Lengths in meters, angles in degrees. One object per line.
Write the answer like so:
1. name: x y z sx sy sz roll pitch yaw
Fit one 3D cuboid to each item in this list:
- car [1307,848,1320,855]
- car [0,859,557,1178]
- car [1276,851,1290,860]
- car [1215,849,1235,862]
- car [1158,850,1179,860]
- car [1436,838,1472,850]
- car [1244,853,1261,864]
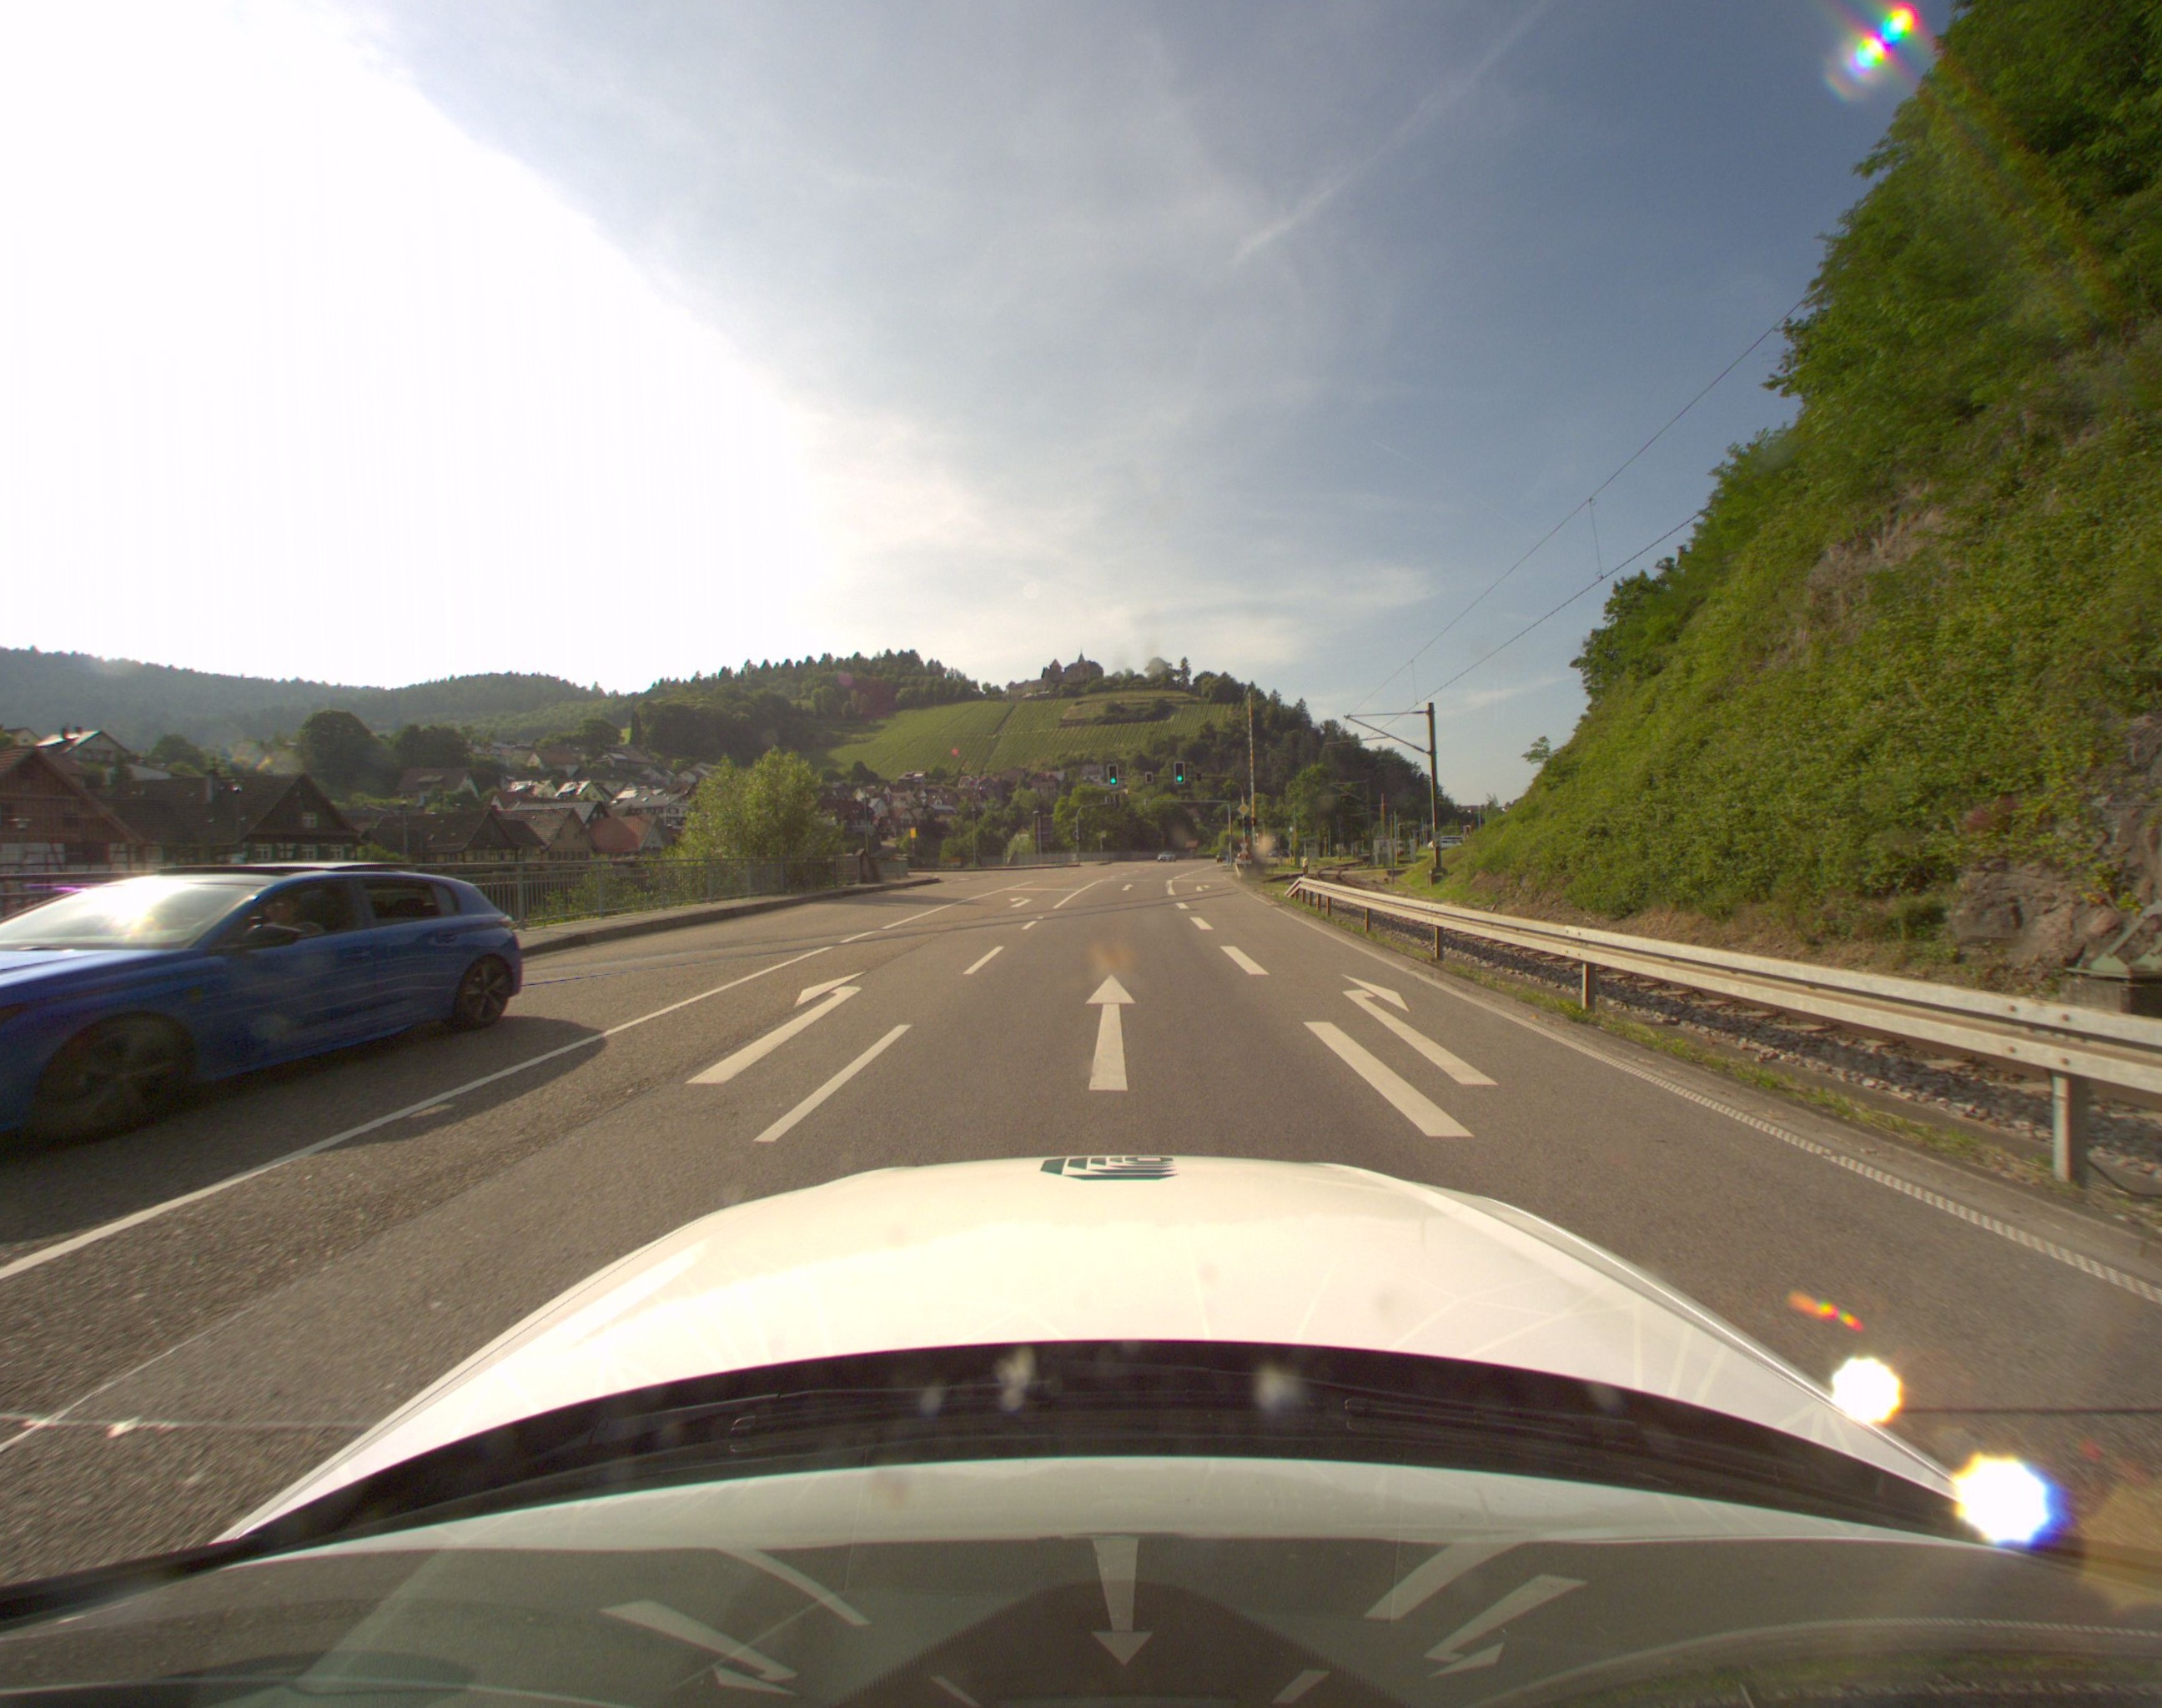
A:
1. car: 49.217 -0.554 172.180 1.791 1.408 3.796 -3 -1 29
2. car: -6.021 0.797 5.726 1.777 1.482 4.524 0 0 -1
3. car: 37.040 0.264 149.008 1.790 1.453 3.667 -3 -1 24
4. car: 17.363 0.167 98.145 1.714 1.457 3.427 -3 -1 19
5. car: 10.879 0.112 101.197 1.632 1.231 4.114 -1 1 19
6. car: 46.284 -1.236 101.084 4.059 1.398 1.820 -1 0 24
7. car: 24.916 0.698 118.257 1.824 1.459 3.732 -3 -1 21
